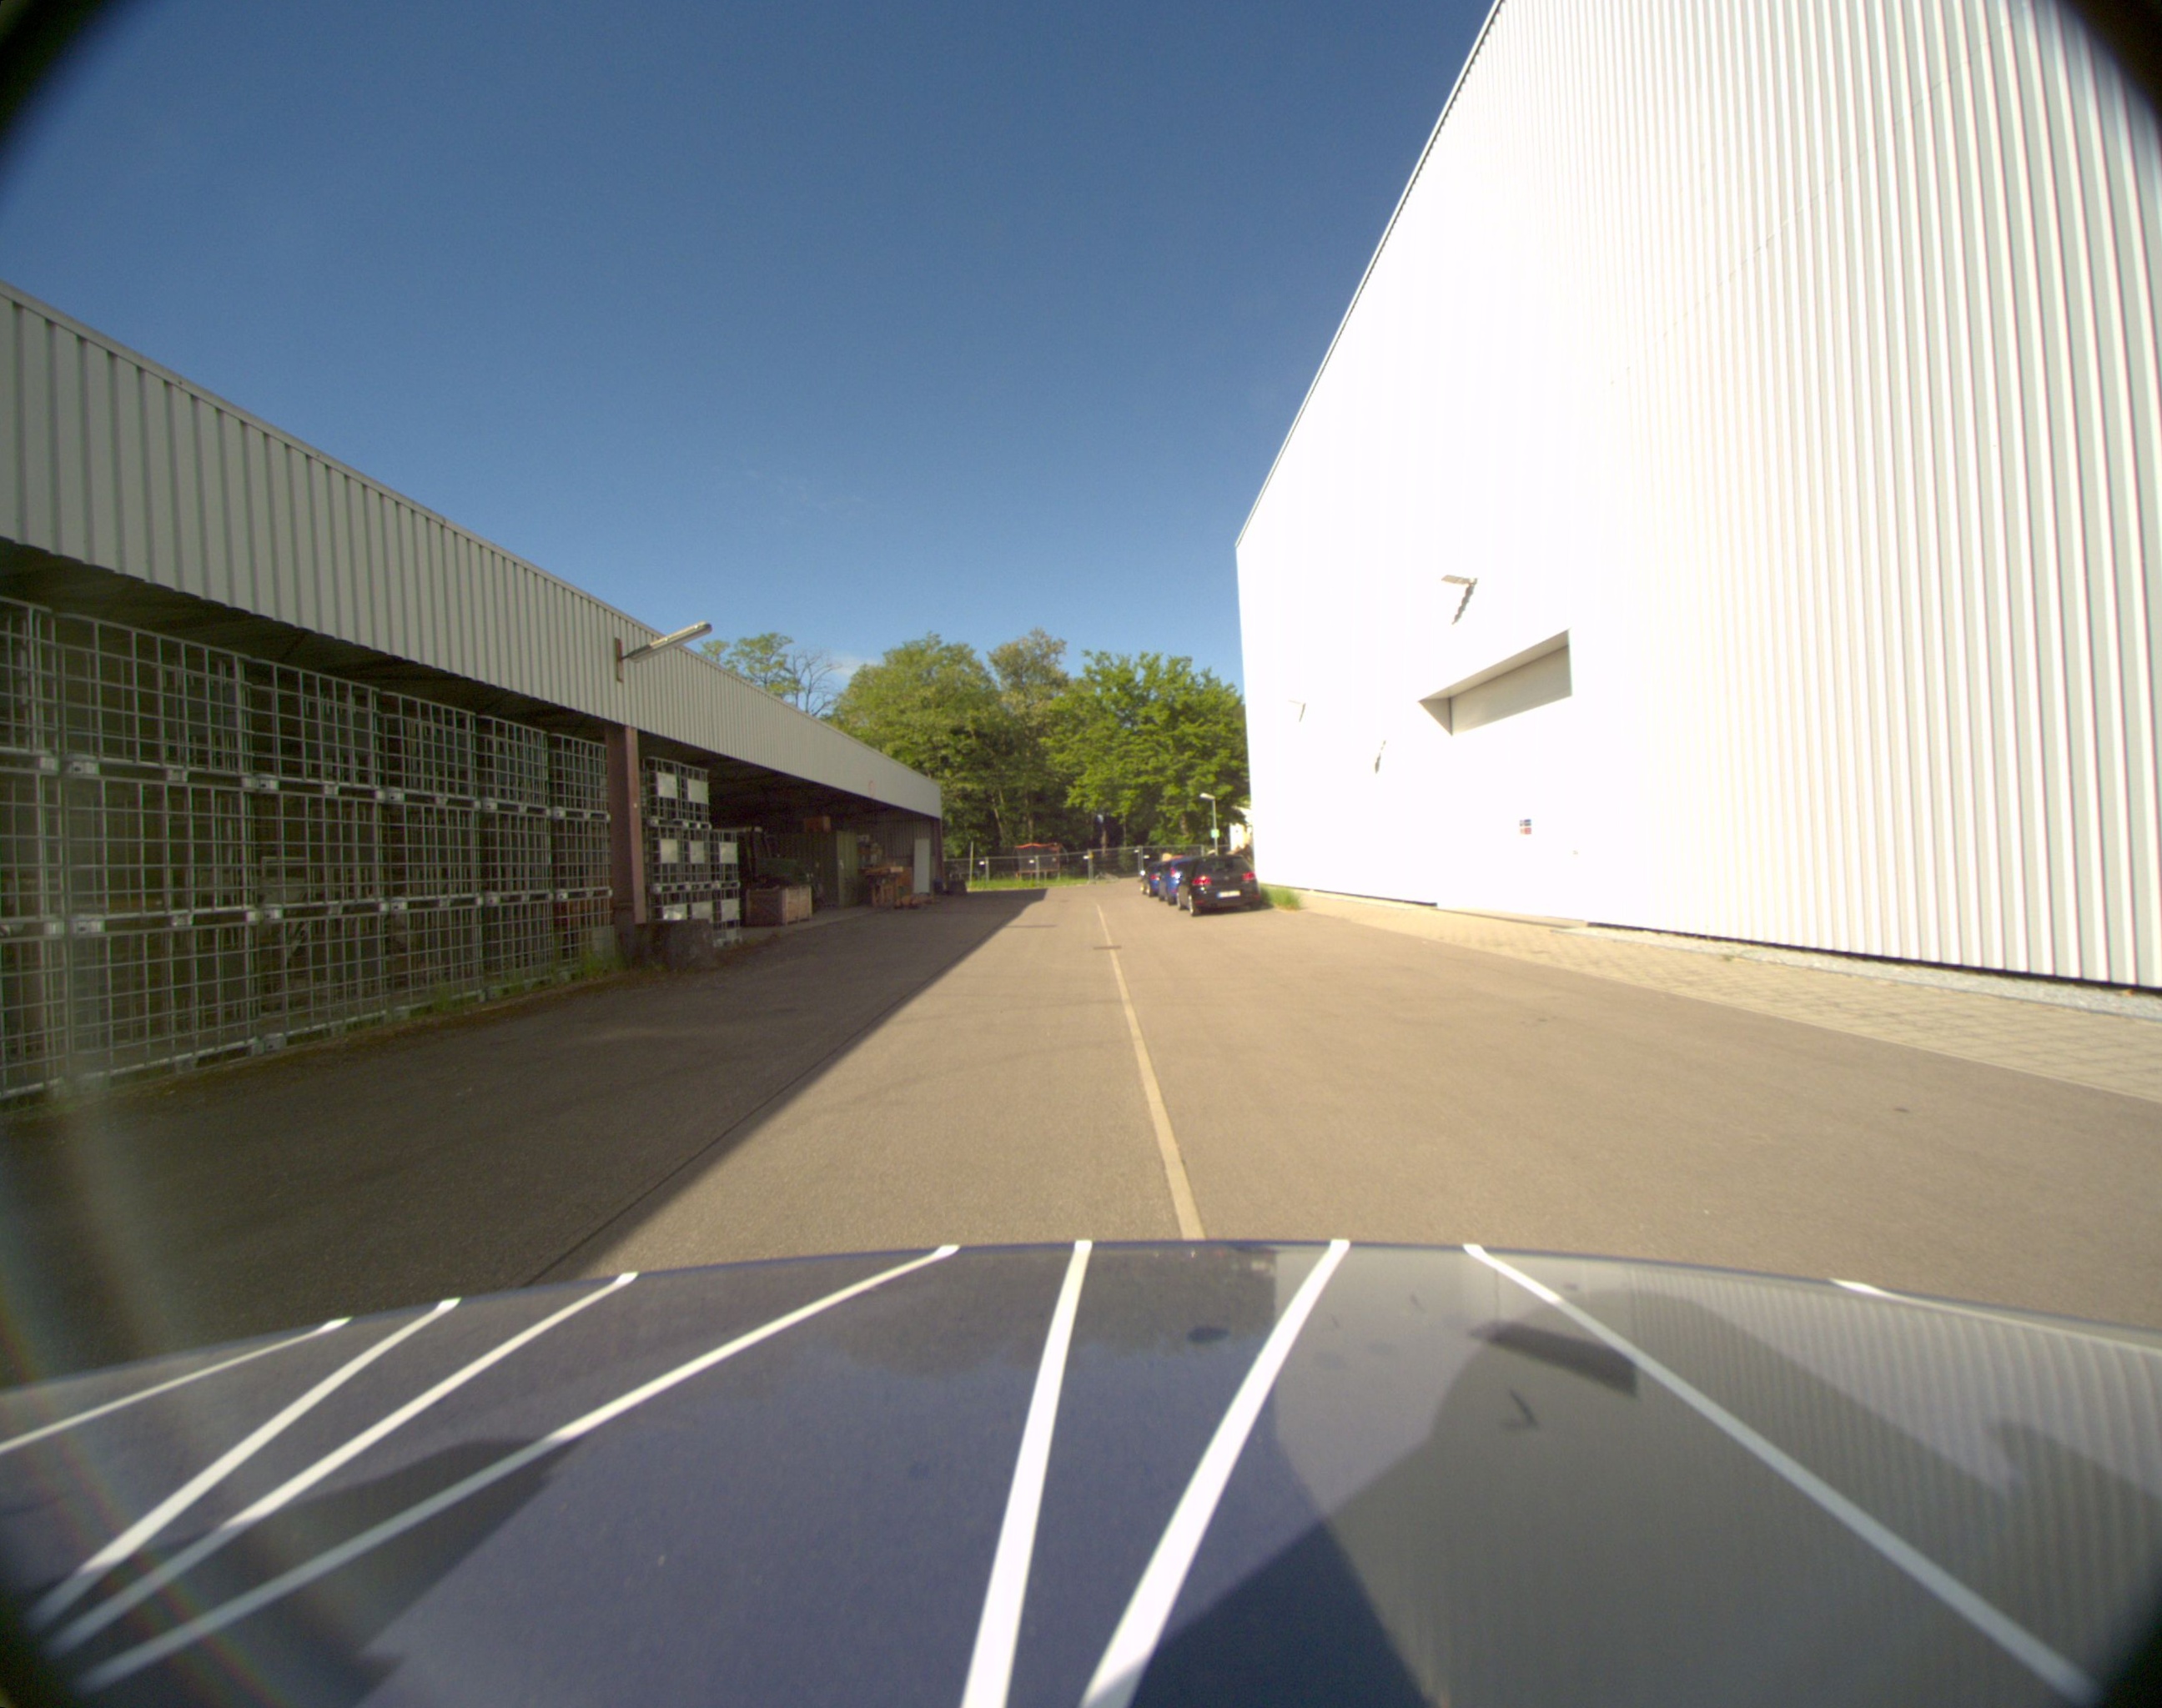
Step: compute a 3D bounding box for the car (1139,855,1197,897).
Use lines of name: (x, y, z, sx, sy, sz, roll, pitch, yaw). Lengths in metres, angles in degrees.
car: (3.411, 0.868, 30.437, 1.716, 1.440, 3.798, -5, -1, -1)

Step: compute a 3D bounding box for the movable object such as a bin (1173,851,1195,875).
movable object such as a bin: (6.438, 0.569, 47.531, 1.141, 1.469, 1.280, -2, -1, 1)

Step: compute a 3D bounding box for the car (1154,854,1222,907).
car: (3.424, 0.826, 24.925, 1.552, 1.479, 3.522, -5, -1, -1)

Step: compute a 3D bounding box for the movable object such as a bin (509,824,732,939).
movable object such as a bin: (-12.560, 0.738, 21.019, 4.537, 2.814, 2.497, -2, 0, 1)

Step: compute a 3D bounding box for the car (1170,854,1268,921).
car: (3.528, 0.818, 20.180, 1.760, 1.437, 4.315, -6, -1, 1)

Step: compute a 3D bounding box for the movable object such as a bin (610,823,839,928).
movable object such as a bin: (-11.188, 0.649, 24.284, 5.848, 2.908, 2.820, -2, 0, 1)

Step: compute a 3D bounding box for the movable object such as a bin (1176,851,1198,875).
movable object such as a bin: (6.411, 0.561, 46.167, 1.141, 1.426, 1.289, -2, 0, 1)
